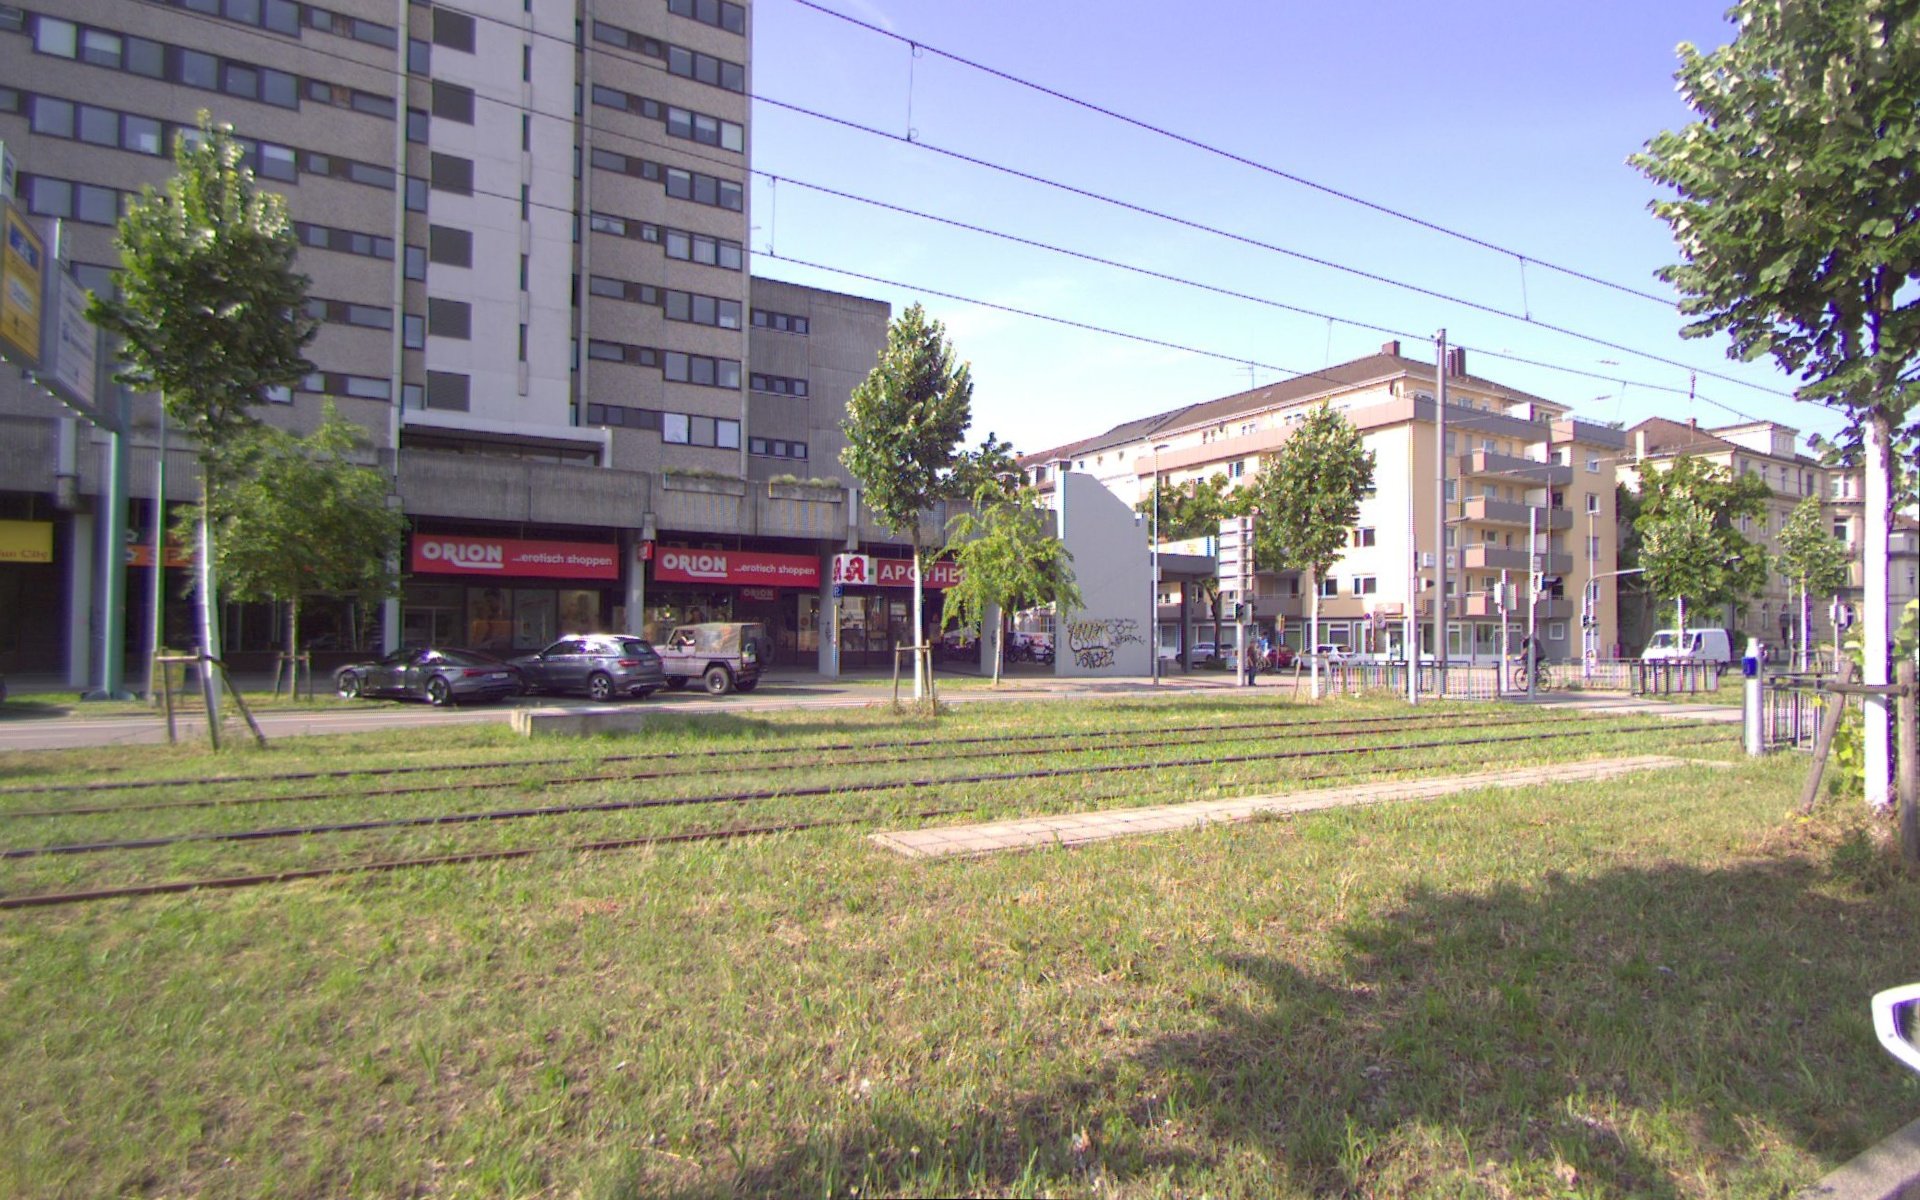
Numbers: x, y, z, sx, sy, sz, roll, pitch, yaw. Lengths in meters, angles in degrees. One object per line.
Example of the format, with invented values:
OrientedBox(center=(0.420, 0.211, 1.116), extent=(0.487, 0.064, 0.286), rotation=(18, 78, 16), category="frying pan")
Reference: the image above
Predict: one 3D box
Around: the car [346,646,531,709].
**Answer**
OrientedBox(center=(-13.015, 1.891, 25.093), extent=(4.031, 1.261, 1.879), rotation=(1, 0, 21), category="car")

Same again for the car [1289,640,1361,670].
OrientedBox(center=(21.129, 3.149, 58.299), extent=(1.691, 1.604, 3.602), rotation=(-2, -1, -33), category="car")

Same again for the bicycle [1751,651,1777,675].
OrientedBox(center=(46.843, 3.653, 58.542), extent=(1.740, 1.364, 0.690), rotation=(2, -2, -34), category="bicycle")

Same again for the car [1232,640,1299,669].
OrientedBox(center=(18.876, 3.362, 62.239), extent=(1.755, 1.711, 3.766), rotation=(2, -2, -33), category="car")

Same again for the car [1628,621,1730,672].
OrientedBox(center=(33.962, 2.176, 47.399), extent=(5.274, 2.268, 2.035), rotation=(2, -2, -31), category="car")

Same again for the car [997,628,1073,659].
OrientedBox(center=(4.967, 2.897, 66.566), extent=(4.777, 1.994, 1.984), rotation=(3, -3, -31), category="car")

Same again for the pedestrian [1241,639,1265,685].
OrientedBox(center=(11.276, 2.379, 38.696), extent=(0.637, 1.712, 0.656), rotation=(1, -2, -27), category="pedestrian")

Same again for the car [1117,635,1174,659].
OrientedBox(center=(13.246, 3.357, 71.727), extent=(1.797, 1.625, 3.915), rotation=(2, -2, -34), category="car")

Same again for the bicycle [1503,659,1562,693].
OrientedBox(center=(16.619, 2.218, 29.202), extent=(0.547, 0.947, 1.611), rotation=(-1, -4, -9), category="bicycle")

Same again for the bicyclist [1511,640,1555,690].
OrientedBox(center=(16.620, 1.881, 29.159), extent=(0.536, 1.413, 0.972), rotation=(-1, -4, -10), category="bicyclist")

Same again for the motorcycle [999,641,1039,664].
OrientedBox(center=(3.275, 2.886, 55.590), extent=(2.116, 1.269, 0.820), rotation=(2, -2, -30), category="motorcycle")

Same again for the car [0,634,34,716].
OrientedBox(center=(-21.171, 1.481, 20.072), extent=(3.919, 1.604, 2.103), rotation=(1, 0, 14), category="car")

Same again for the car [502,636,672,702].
OrientedBox(center=(-9.986, 1.793, 26.930), extent=(4.031, 1.627, 1.879), rotation=(0, -2, 21), category="car")

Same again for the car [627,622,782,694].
OrientedBox(center=(-7.450, 1.654, 29.395), extent=(4.031, 1.994, 1.879), rotation=(0, -2, 21), category="car")

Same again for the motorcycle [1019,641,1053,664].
OrientedBox(center=(3.900, 2.694, 51.491), extent=(1.658, 1.180, 0.626), rotation=(2, -2, -30), category="motorcycle")

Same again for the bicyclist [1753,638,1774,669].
OrientedBox(center=(46.874, 3.113, 58.586), extent=(1.072, 1.829, 0.665), rotation=(2, -2, -34), category="bicyclist")

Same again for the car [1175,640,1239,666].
OrientedBox(center=(16.304, 3.502, 66.466), extent=(1.797, 1.625, 3.916), rotation=(2, -2, -33), category="car")
